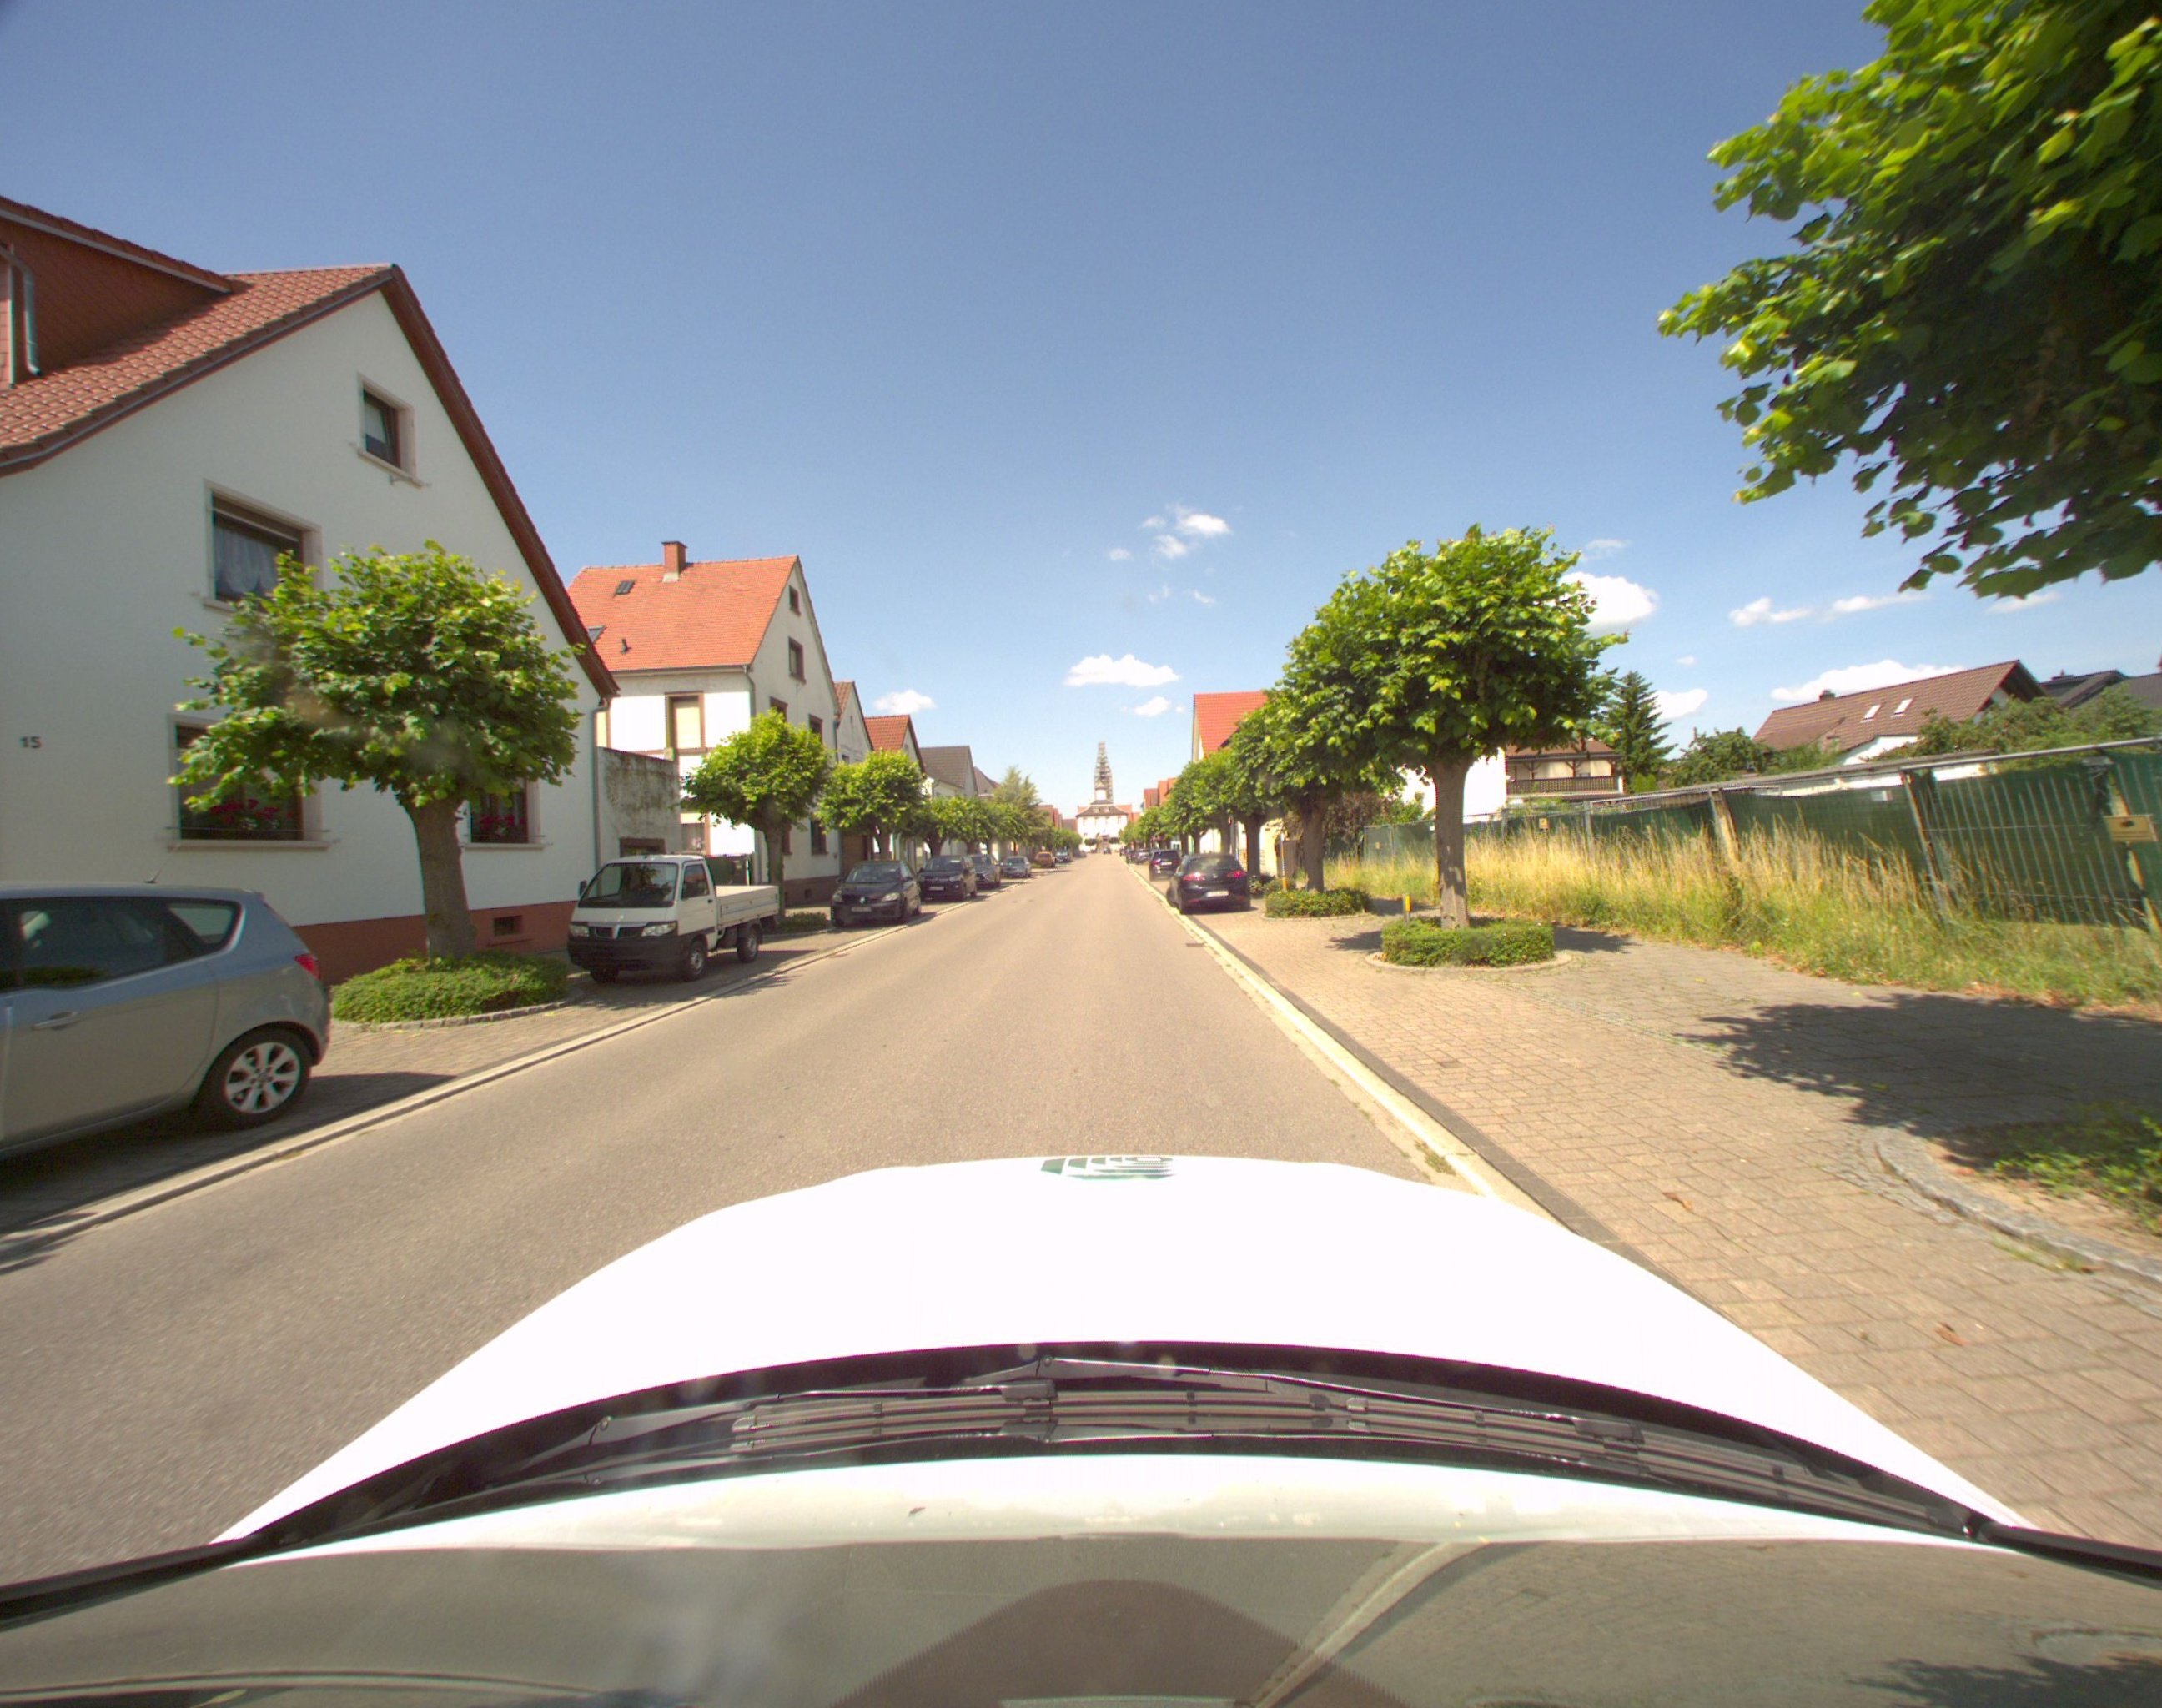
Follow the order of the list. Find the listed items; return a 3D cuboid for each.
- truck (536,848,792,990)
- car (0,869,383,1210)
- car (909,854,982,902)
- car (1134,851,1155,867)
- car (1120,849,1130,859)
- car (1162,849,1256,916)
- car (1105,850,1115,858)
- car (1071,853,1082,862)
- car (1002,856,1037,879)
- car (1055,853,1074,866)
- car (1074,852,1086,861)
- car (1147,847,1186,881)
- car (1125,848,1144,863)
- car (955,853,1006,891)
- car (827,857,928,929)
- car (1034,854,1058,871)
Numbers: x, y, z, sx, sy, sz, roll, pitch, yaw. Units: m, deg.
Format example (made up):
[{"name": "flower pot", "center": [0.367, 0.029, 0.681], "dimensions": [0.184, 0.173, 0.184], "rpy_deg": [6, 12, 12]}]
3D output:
[{"name": "truck", "center": [-5.961, 0.821, 12.274], "dimensions": [1.570, 1.765, 4.194], "rpy_deg": [0, 0, 2]}, {"name": "car", "center": [-6.120, 0.907, 3.793], "dimensions": [1.846, 1.613, 4.372], "rpy_deg": [0, 0, 2]}, {"name": "car", "center": [-4.895, 0.834, 29.968], "dimensions": [1.846, 1.635, 4.058], "rpy_deg": [-1, 0, 2]}, {"name": "car", "center": [6.430, 0.494, 82.785], "dimensions": [1.831, 1.607, 4.000], "rpy_deg": [-2, 0, 1]}, {"name": "car", "center": [8.264, -0.011, 153.223], "dimensions": [1.830, 1.555, 4.316], "rpy_deg": [-4, 0, 2]}, {"name": "car", "center": [3.206, 0.656, 21.085], "dimensions": [1.817, 1.432, 4.059], "rpy_deg": [-4, 0, 2]}, {"name": "car", "center": [6.302, -0.003, 178.848], "dimensions": [1.719, 1.547, 3.464], "rpy_deg": [-1, -1, 9]}, {"name": "car", "center": [-0.839, 0.683, 147.768], "dimensions": [1.750, 1.555, 4.023], "rpy_deg": [-2, 0, 2]}, {"name": "car", "center": [-3.984, 0.830, 53.389], "dimensions": [1.834, 1.396, 4.408], "rpy_deg": [-1, 0, 1]}, {"name": "car", "center": [-2.094, 0.710, 104.793], "dimensions": [1.985, 1.611, 4.693], "rpy_deg": [-1, 1, 3]}, {"name": "car", "center": [-0.135, 0.409, 153.499], "dimensions": [1.985, 1.611, 3.858], "rpy_deg": [-1, -1, 3]}, {"name": "car", "center": [4.430, 0.485, 42.267], "dimensions": [1.815, 1.586, 4.063], "rpy_deg": [-4, 0, 6]}, {"name": "car", "center": [5.913, 0.159, 90.382], "dimensions": [1.830, 1.555, 4.315], "rpy_deg": [-4, 0, 2]}, {"name": "car", "center": [-4.762, 0.813, 39.111], "dimensions": [1.988, 1.652, 4.365], "rpy_deg": [-1, 0, -2]}, {"name": "car", "center": [-5.093, 0.909, 20.903], "dimensions": [1.782, 1.634, 3.995], "rpy_deg": [-1, 0, -4]}, {"name": "car", "center": [-3.520, 0.875, 83.293], "dimensions": [1.985, 1.611, 4.692], "rpy_deg": [-1, 0, 3]}]
